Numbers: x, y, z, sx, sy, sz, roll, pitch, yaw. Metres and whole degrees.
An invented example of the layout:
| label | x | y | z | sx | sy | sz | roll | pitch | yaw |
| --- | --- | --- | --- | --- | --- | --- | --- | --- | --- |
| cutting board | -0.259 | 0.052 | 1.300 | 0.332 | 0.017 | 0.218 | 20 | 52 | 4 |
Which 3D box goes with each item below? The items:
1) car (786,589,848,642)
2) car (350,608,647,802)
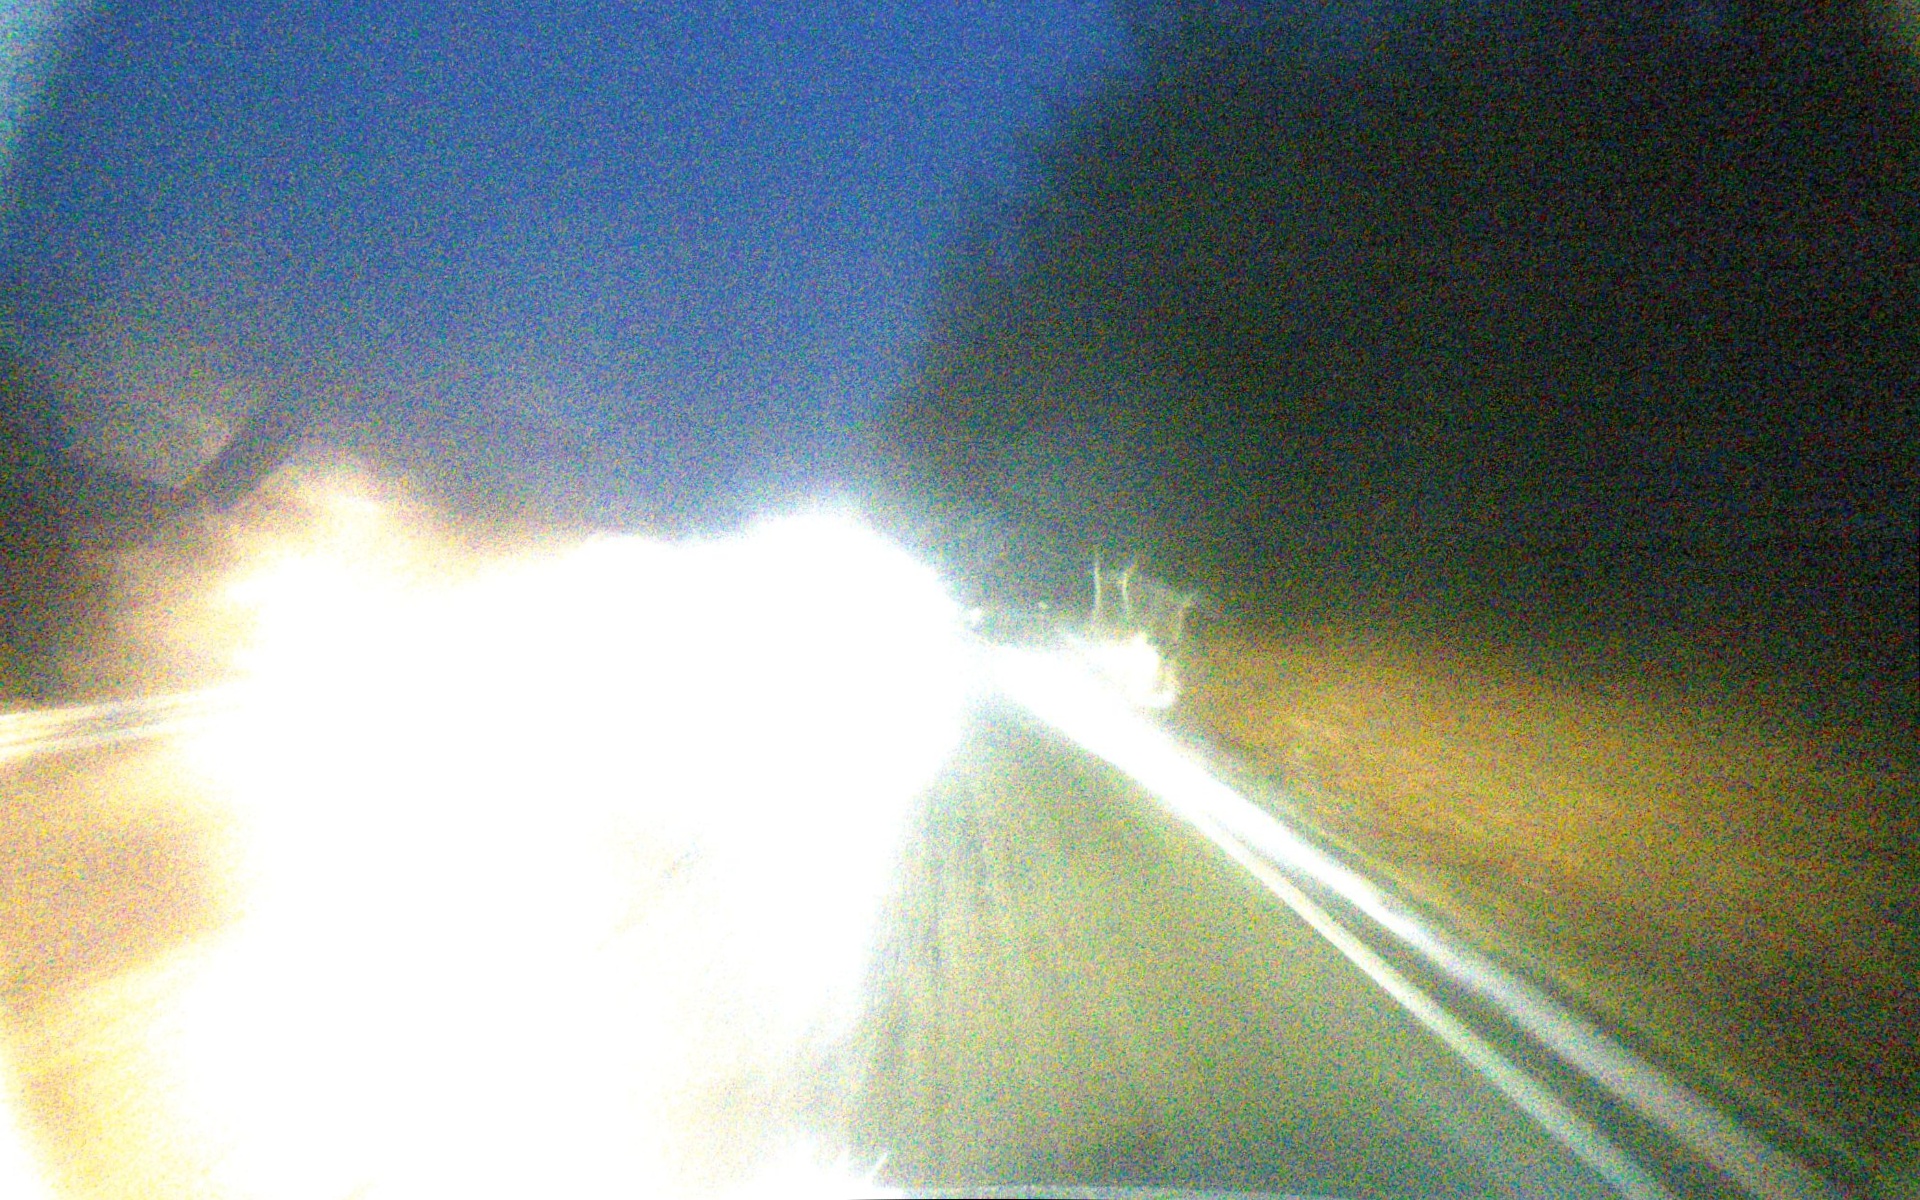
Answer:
| label | x | y | z | sx | sy | sz | roll | pitch | yaw |
| --- | --- | --- | --- | --- | --- | --- | --- | --- | --- |
| car | -4.469 | 0.472 | 52.183 | 1.781 | 1.582 | 3.869 | -1 | 0 | -3 |
| car | -3.777 | 0.792 | 14.115 | 1.549 | 1.410 | 3.584 | 1 | 0 | -1 |
